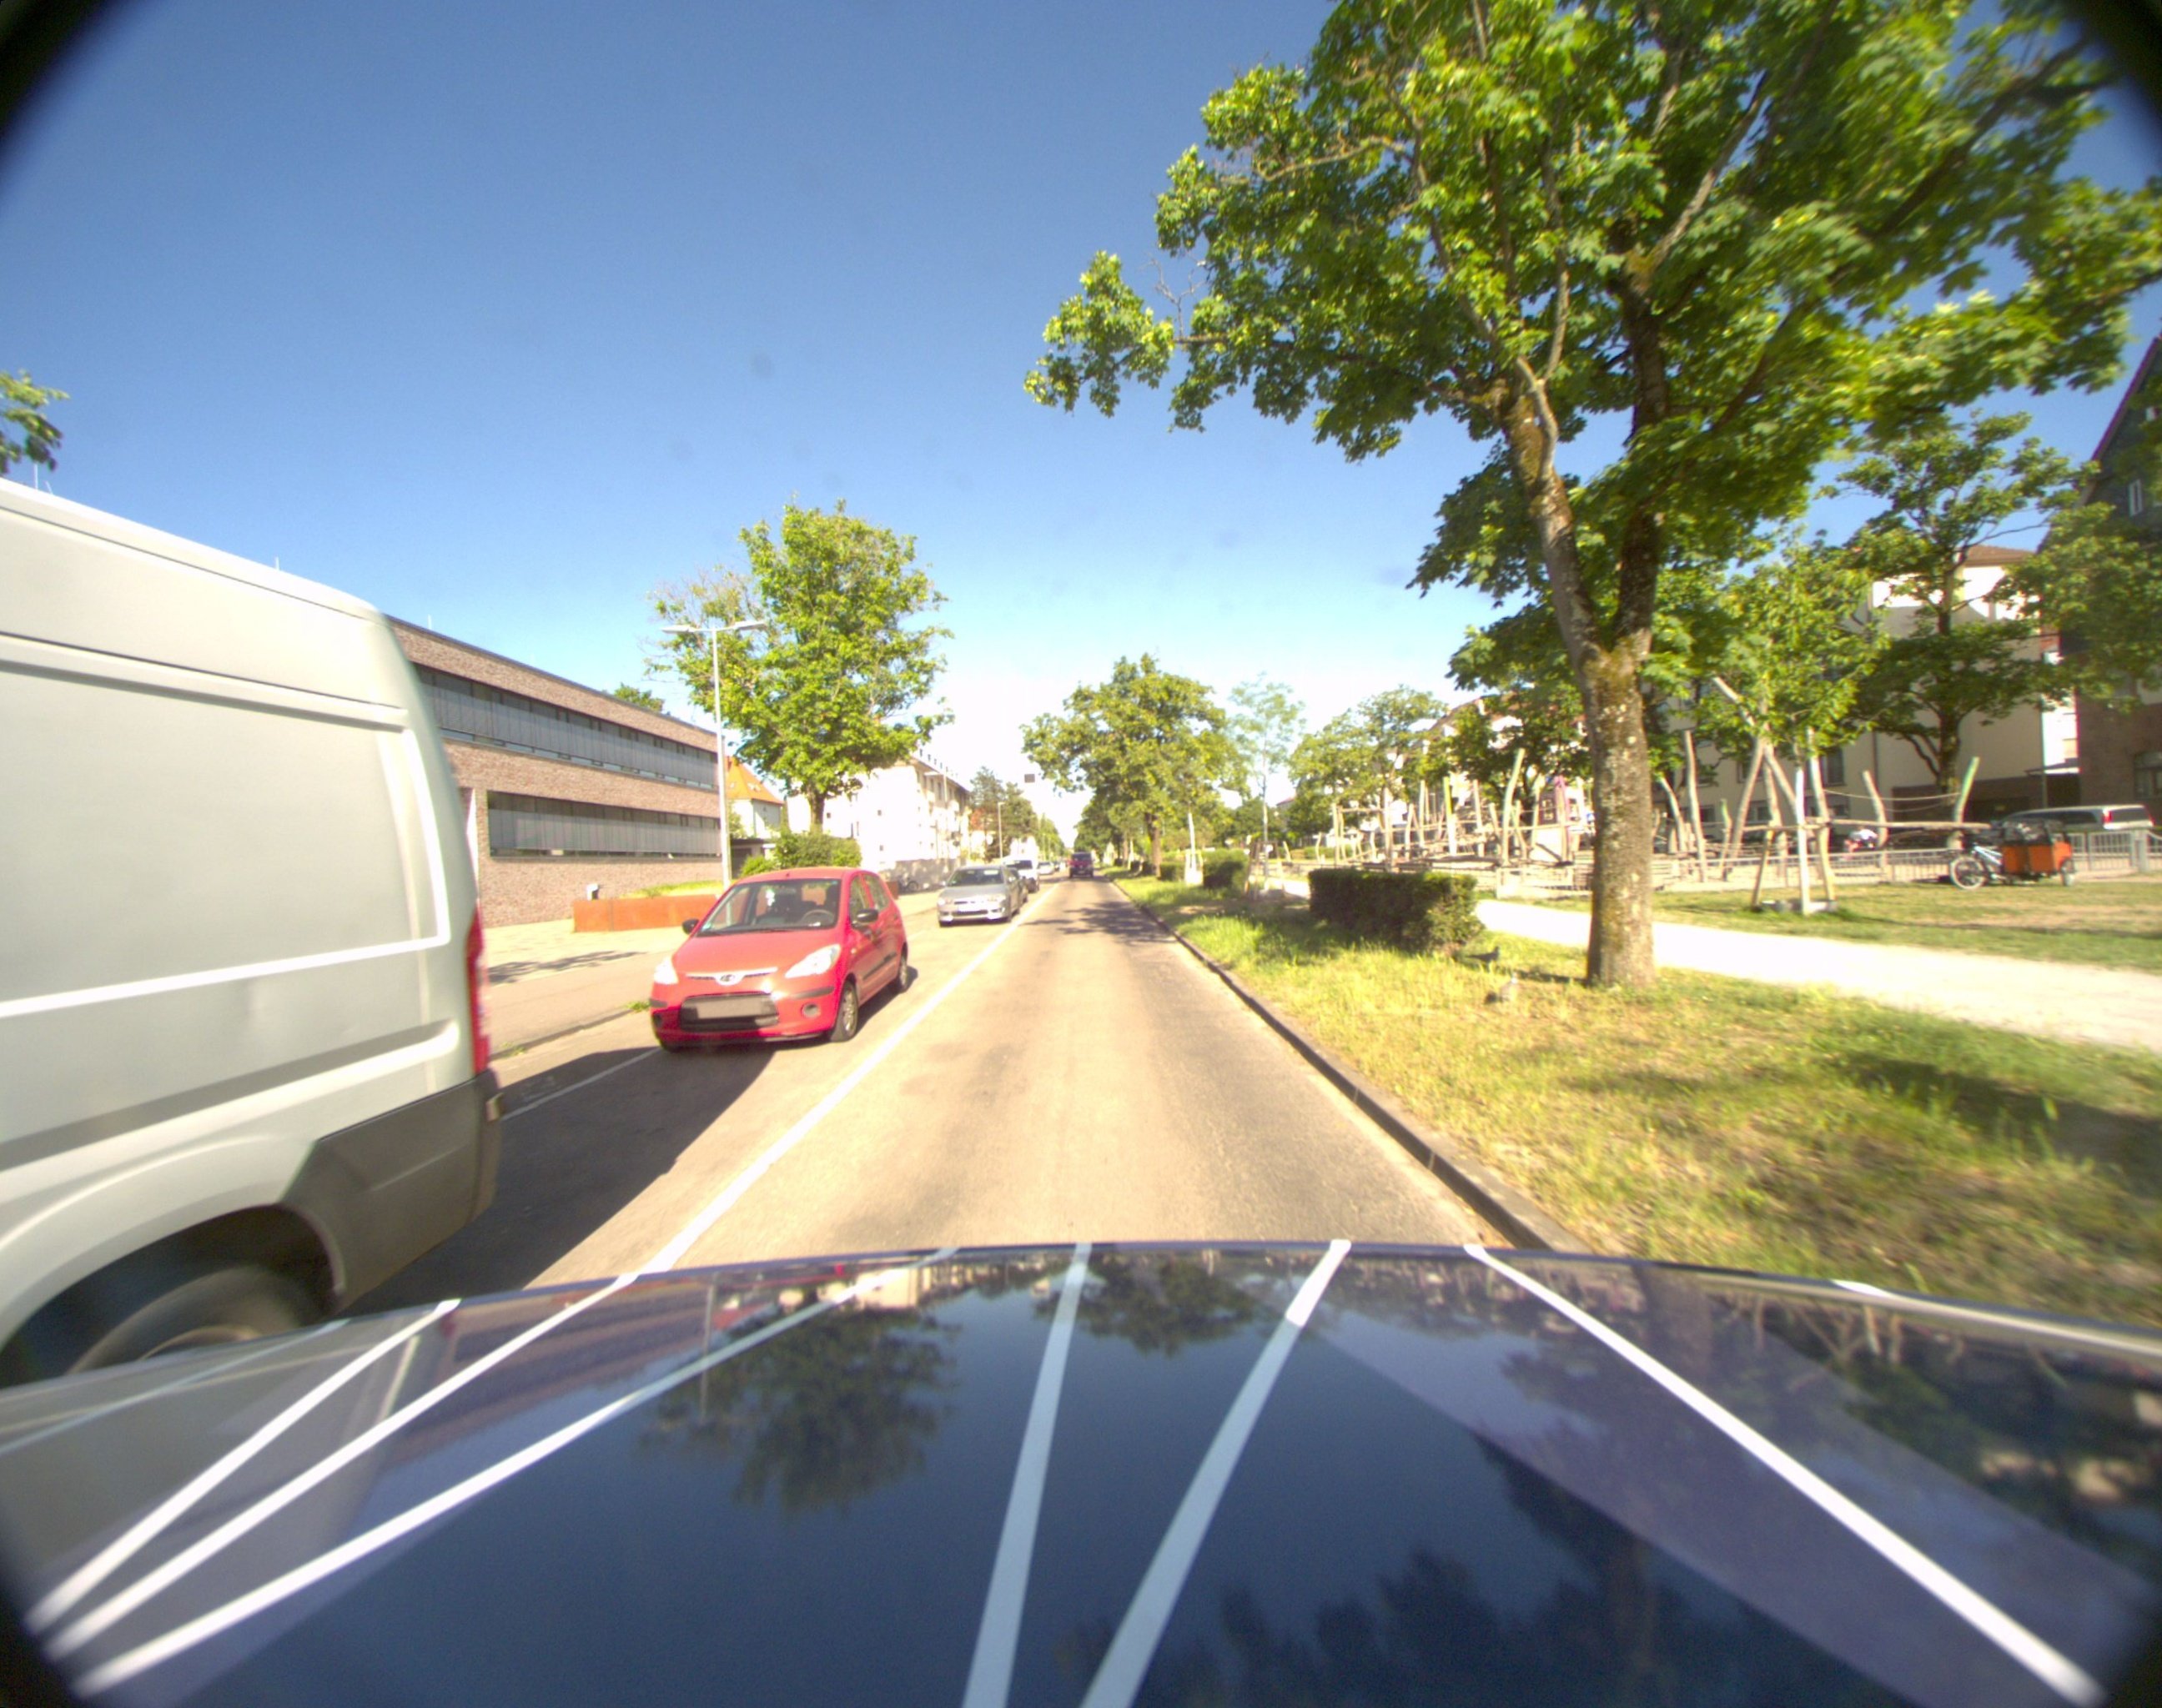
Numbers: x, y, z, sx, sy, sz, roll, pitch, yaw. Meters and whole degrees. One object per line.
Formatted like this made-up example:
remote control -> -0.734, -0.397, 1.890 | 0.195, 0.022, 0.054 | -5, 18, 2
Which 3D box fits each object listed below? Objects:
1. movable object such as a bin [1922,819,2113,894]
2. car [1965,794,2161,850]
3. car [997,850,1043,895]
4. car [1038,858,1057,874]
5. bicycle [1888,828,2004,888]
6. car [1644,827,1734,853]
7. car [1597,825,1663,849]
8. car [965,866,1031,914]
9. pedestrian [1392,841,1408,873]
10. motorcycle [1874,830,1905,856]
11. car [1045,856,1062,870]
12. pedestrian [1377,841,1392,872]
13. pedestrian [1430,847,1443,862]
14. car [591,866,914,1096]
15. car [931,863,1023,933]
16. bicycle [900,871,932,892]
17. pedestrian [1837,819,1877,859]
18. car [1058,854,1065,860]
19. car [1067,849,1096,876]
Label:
movable object such as a bin -> 17.320, 0.042, 14.097 | 2.337, 1.234, 1.056 | -2, 0, -4
car -> 39.272, -1.203, 30.551 | 1.799, 1.971, 4.835 | -4, 0, 1
car -> -2.866, 0.826, 36.523 | 1.812, 1.897, 4.460 | -4, 0, -1
car -> -3.465, 1.170, 77.746 | 1.664, 1.456, 4.410 | -5, 0, -4
bicycle -> 17.787, 0.081, 15.632 | 1.799, 1.101, 0.500 | -3, 0, -1
car -> 39.381, -0.882, 49.393 | 1.911, 1.501, 4.764 | -4, 0, -1
car -> 39.490, -1.177, 54.792 | 1.799, 1.545, 4.000 | -4, 0, 0
car -> -2.733, 1.161, 25.833 | 1.706, 1.317, 4.129 | -4, 0, 0
pedestrian -> 16.840, 0.162, 40.075 | 0.649, 1.651, 0.651 | -3, 1, 18
motorcycle -> 27.121, -0.374, 25.500 | 0.703, 0.822, 0.284 | -4, 0, -1
car -> -3.353, 1.070, 93.439 | 1.799, 1.501, 3.994 | -5, 0, 0
pedestrian -> 16.567, 0.143, 41.523 | 0.649, 1.651, 0.651 | -3, 1, 18
pedestrian -> 24.177, 0.053, 51.727 | 0.542, 0.973, 0.778 | -3, 0, 8
car -> -2.862, 0.983, 7.514 | 1.624, 1.579, 3.591 | -3, 0, -2
car -> -2.595, 1.061, 19.922 | 1.706, 1.470, 4.173 | -4, 0, 1
bicycle -> -9.676, 1.609, 44.521 | 1.673, 1.024, 0.500 | -5, 1, -2
pedestrian -> 26.791, -0.515, 26.243 | 0.650, 1.310, 0.650 | -4, 0, -3
car -> -5.275, 0.776, 206.989 | 1.799, 1.529, 4.001 | -4, -1, 0
car -> 0.063, 0.667, 59.972 | 2.092, 2.000, 4.844 | -2, 0, 0
